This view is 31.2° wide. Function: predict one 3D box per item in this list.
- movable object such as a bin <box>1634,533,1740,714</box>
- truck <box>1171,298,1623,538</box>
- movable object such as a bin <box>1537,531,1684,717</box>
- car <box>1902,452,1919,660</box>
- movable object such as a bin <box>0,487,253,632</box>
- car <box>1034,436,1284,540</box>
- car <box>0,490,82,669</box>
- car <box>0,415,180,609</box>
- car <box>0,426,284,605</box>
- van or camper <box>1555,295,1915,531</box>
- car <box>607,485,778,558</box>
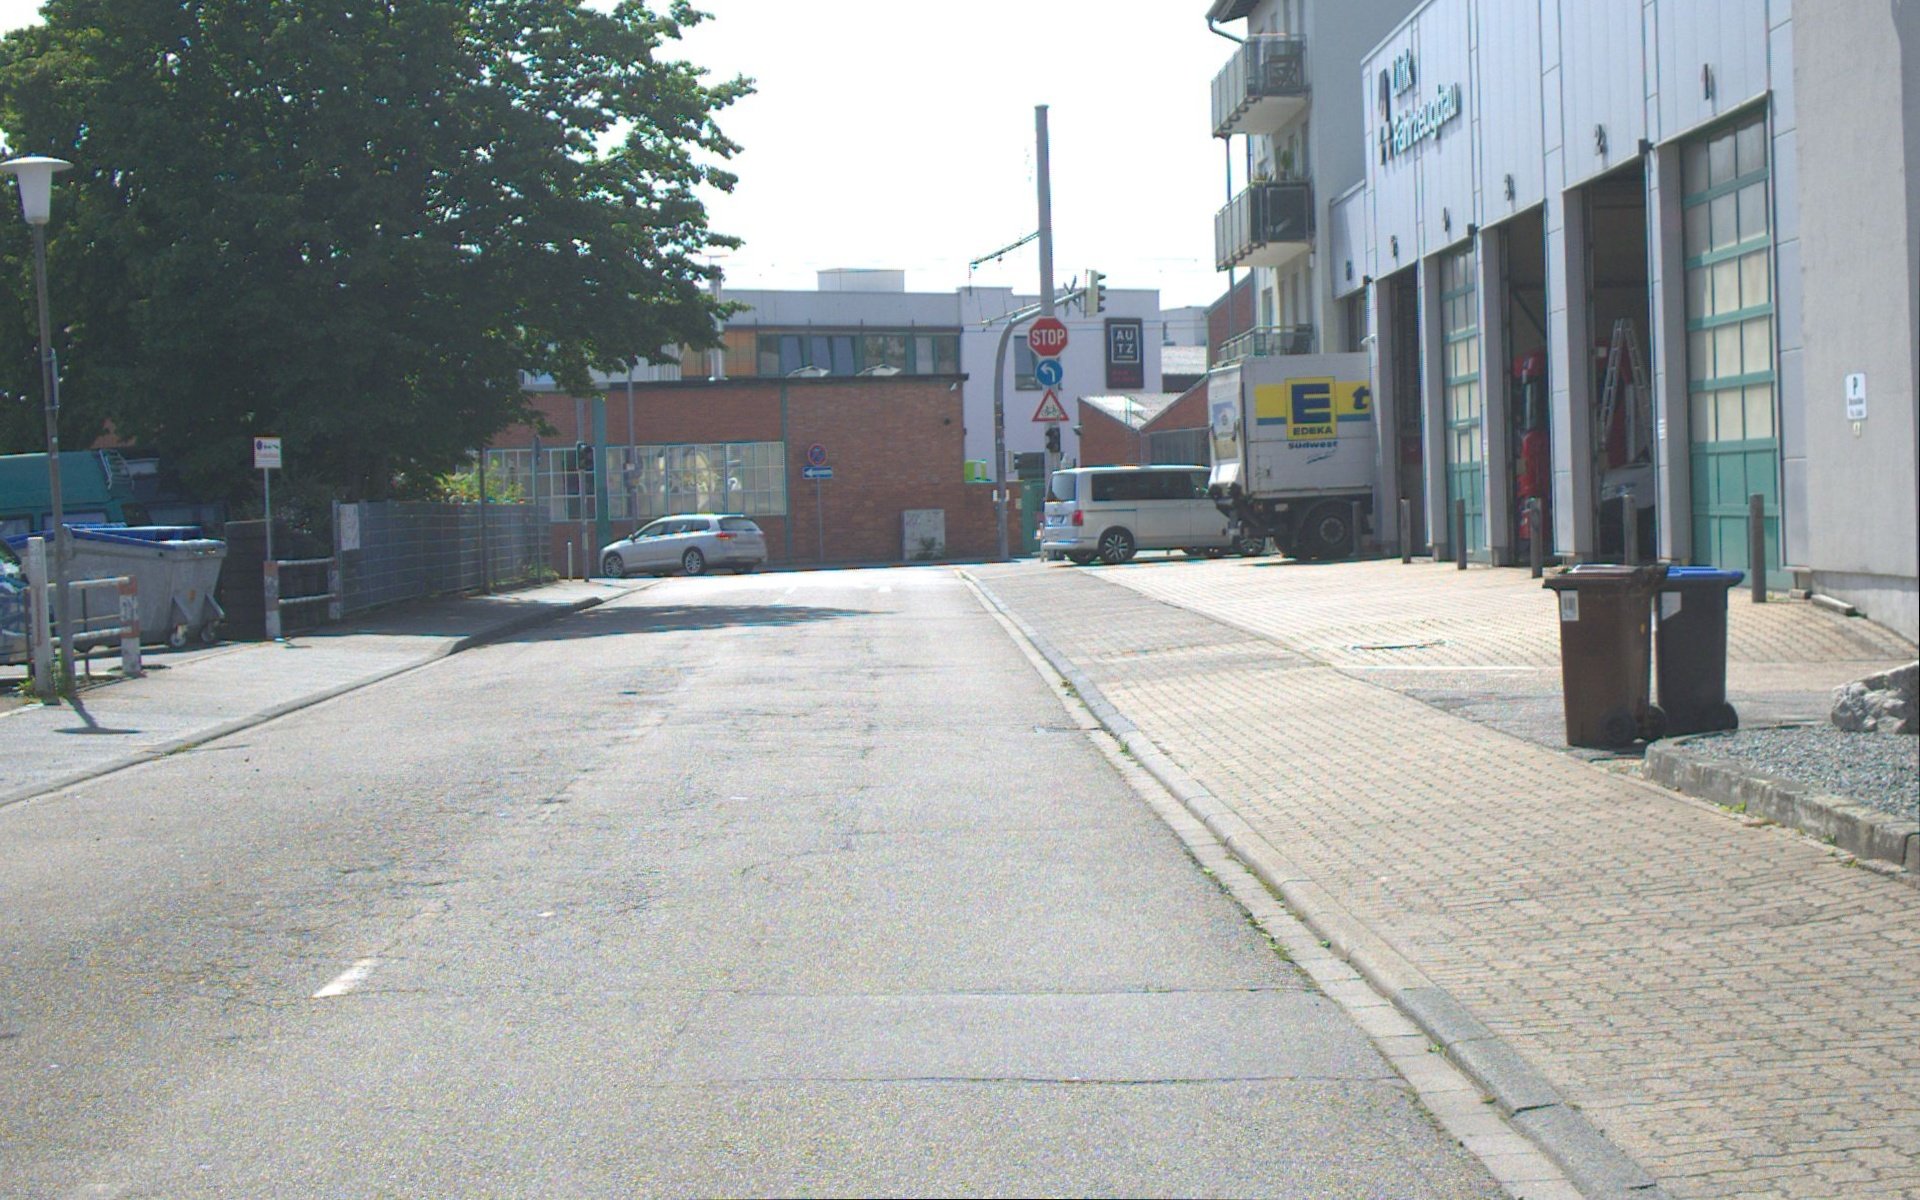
[{"bbox_3d":[3.935,0.123,18.625,0.514,0.943,0.487,-2,2,11],"label":"movable object such as a bin"},{"bbox_3d":[7.795,-3.257,61.790,7.357,3.632,2.768,-5,2,-7],"label":"truck"},{"bbox_3d":[3.449,0.126,18.208,0.568,0.943,0.556,-1,2,33],"label":"movable object such as a bin"},{"bbox_3d":[8.901,-0.436,26.372,1.777,1.534,3.694,-1,3,41],"label":"car"},{"bbox_3d":[-9.831,-0.478,39.456,2.627,1.505,2.728,-2,2,5],"label":"movable object such as a bin"},{"bbox_3d":[4.056,-2.298,70.188,4.653,1.951,1.917,-3,2,-19],"label":"car"},{"bbox_3d":[-9.230,-0.176,30.886,1.814,1.525,3.676,-3,2,-2],"label":"car"},{"bbox_3d":[-12.826,-1.166,46.553,4.085,2.504,1.777,-2,2,-3],"label":"car"},{"bbox_3d":[-12.342,-1.271,51.383,4.085,2.504,1.777,-2,2,-3],"label":"car"},{"bbox_3d":[11.470,-2.761,51.063,4.755,3.277,2.000,-2,2,-4],"label":"van or camper"},{"bbox_3d":[-6.489,-1.917,83.153,3.954,1.679,1.892,2,3,41],"label":"car"}]
